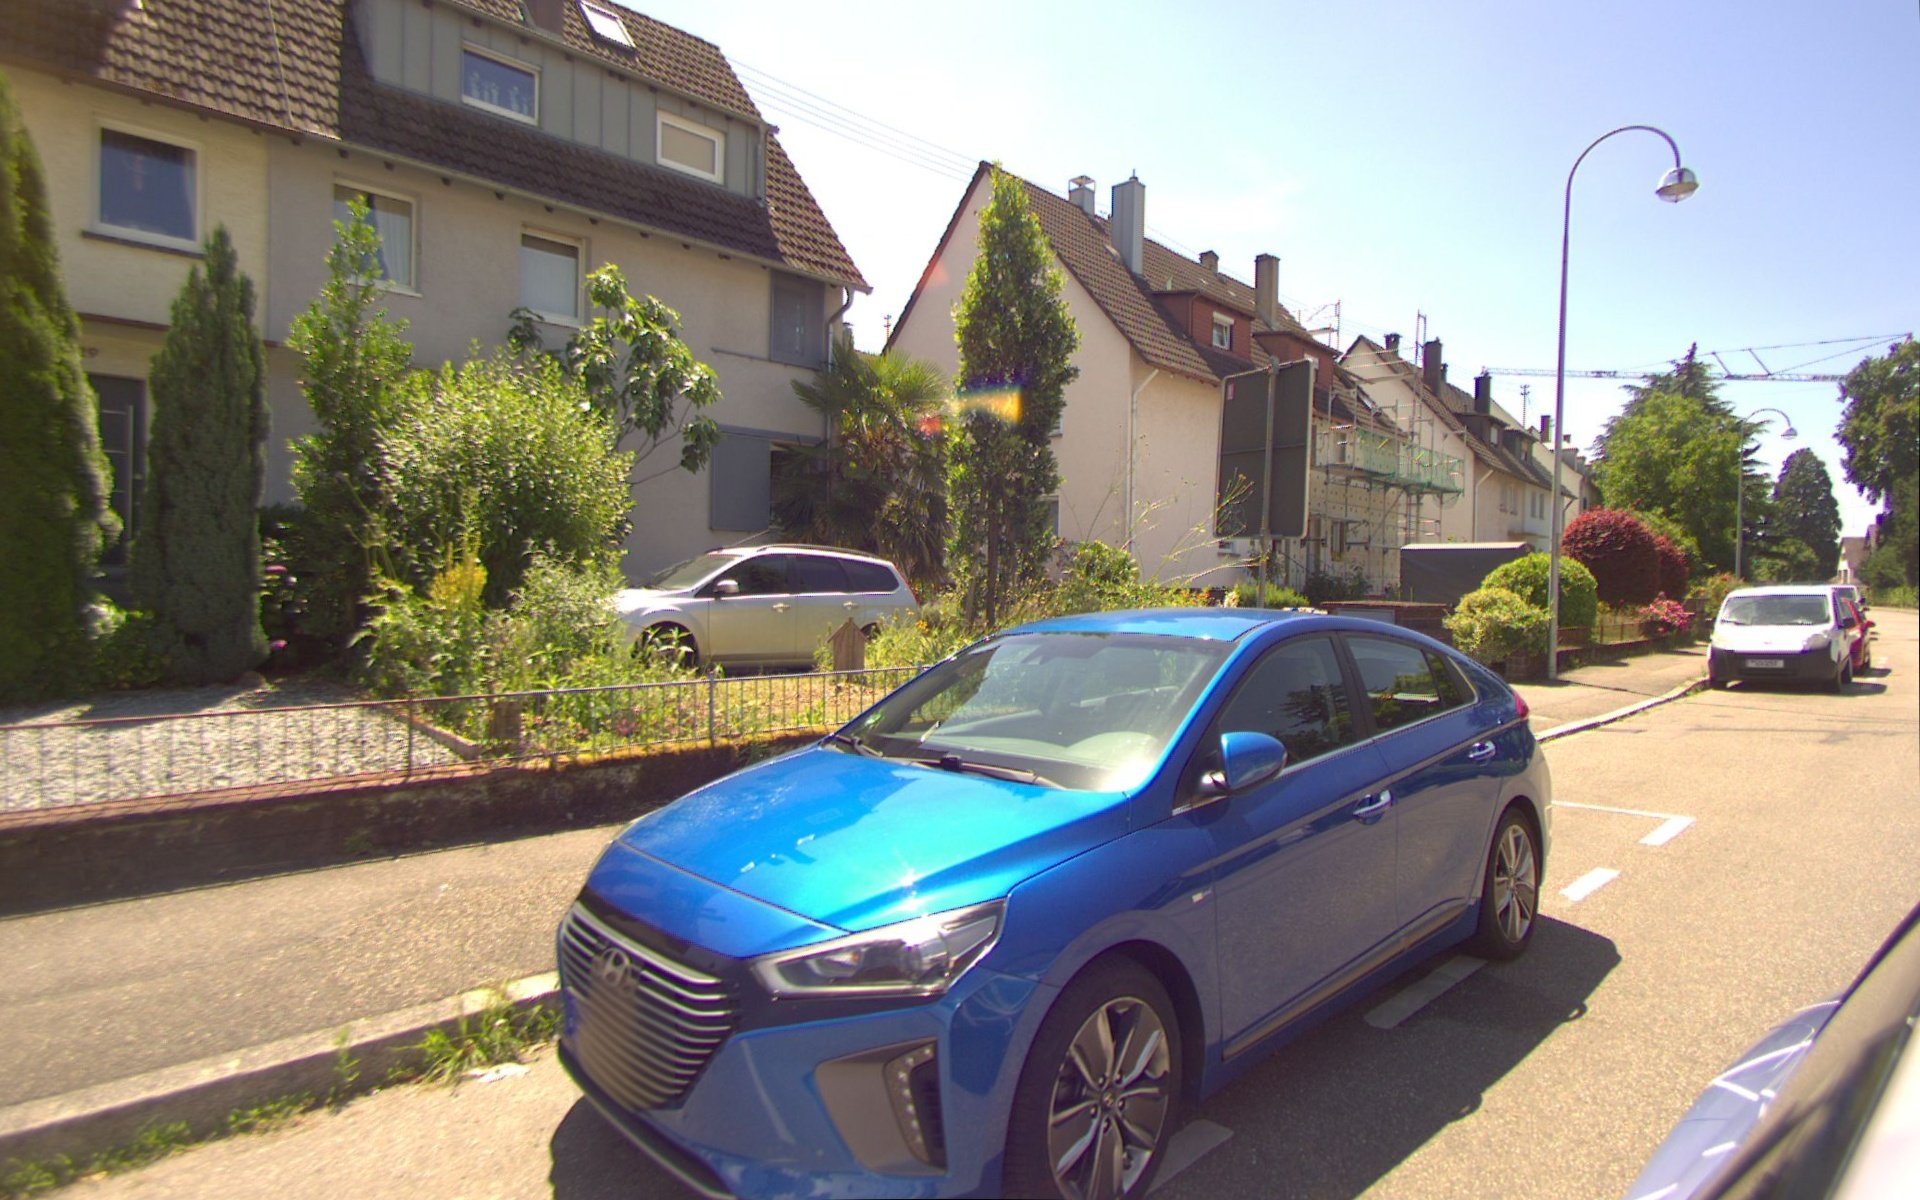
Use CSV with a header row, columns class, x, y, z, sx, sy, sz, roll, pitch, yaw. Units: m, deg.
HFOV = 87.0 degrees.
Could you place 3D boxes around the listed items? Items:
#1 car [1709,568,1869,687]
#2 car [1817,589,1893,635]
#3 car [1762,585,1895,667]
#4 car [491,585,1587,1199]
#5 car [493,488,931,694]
class,x,y,z,sx,sy,sz,roll,pitch,yaw
car,14.206,0.411,17.271,3.876,1.802,1.685,0,-1,-44
car,30.993,0.377,34.994,3.875,1.516,1.685,0,0,-44
car,17.843,0.469,20.748,3.875,1.516,1.686,0,0,-43
car,0.742,0.692,3.834,4.288,1.472,1.686,-1,0,-42
car,-2.628,-0.116,11.433,4.454,1.873,1.919,0,1,-43
